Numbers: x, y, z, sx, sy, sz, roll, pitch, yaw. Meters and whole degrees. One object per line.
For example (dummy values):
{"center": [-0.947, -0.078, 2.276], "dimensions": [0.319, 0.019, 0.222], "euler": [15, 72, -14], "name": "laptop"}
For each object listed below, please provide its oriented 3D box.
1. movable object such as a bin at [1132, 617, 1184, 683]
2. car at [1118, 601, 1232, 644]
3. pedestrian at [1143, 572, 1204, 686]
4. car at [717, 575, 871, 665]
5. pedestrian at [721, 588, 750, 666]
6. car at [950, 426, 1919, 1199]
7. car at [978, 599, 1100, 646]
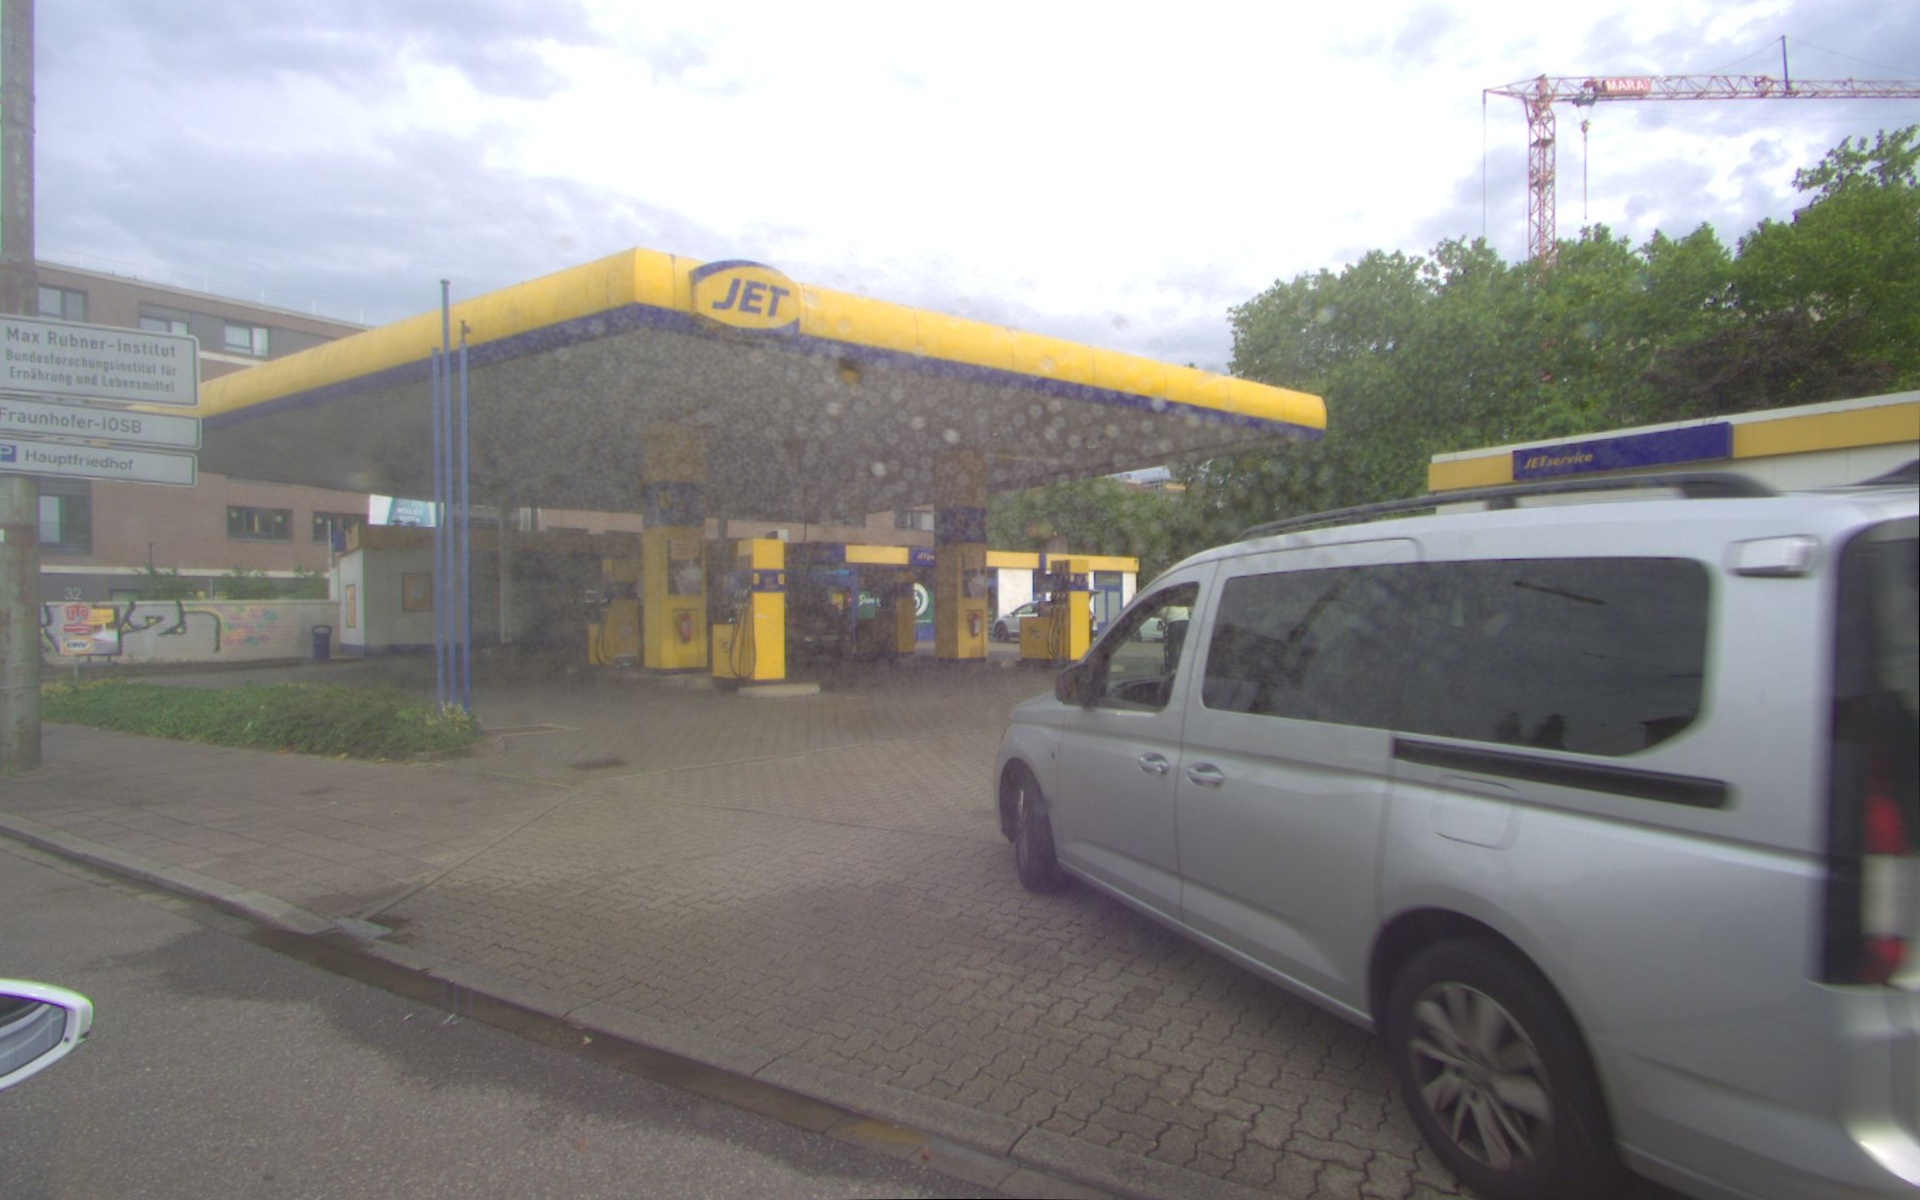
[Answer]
{"center": [3.404, 0.846, 17.259], "dimensions": [0.592, 1.080, 0.794], "euler": [0, 2, -14], "name": "movable object such as a bin"}
{"center": [8.842, 0.884, 41.416], "dimensions": [1.936, 1.607, 4.390], "euler": [1, 0, -37], "name": "car"}
{"center": [3.553, 0.467, 16.739], "dimensions": [0.592, 1.844, 0.968], "euler": [0, 2, -14], "name": "pedestrian"}
{"center": [-4.125, 0.489, 24.412], "dimensions": [1.804, 2.014, 4.219], "euler": [-1, 0, -40], "name": "car"}
{"center": [-5.314, 0.635, 23.704], "dimensions": [0.616, 1.810, 0.706], "euler": [0, -1, -19], "name": "pedestrian"}
{"center": [1.676, 0.604, 4.053], "dimensions": [1.954, 1.868, 4.513], "euler": [-2, 1, -21], "name": "car"}
{"center": [2.921, 0.801, 38.001], "dimensions": [1.919, 1.617, 4.722], "euler": [0, 1, -38], "name": "car"}
